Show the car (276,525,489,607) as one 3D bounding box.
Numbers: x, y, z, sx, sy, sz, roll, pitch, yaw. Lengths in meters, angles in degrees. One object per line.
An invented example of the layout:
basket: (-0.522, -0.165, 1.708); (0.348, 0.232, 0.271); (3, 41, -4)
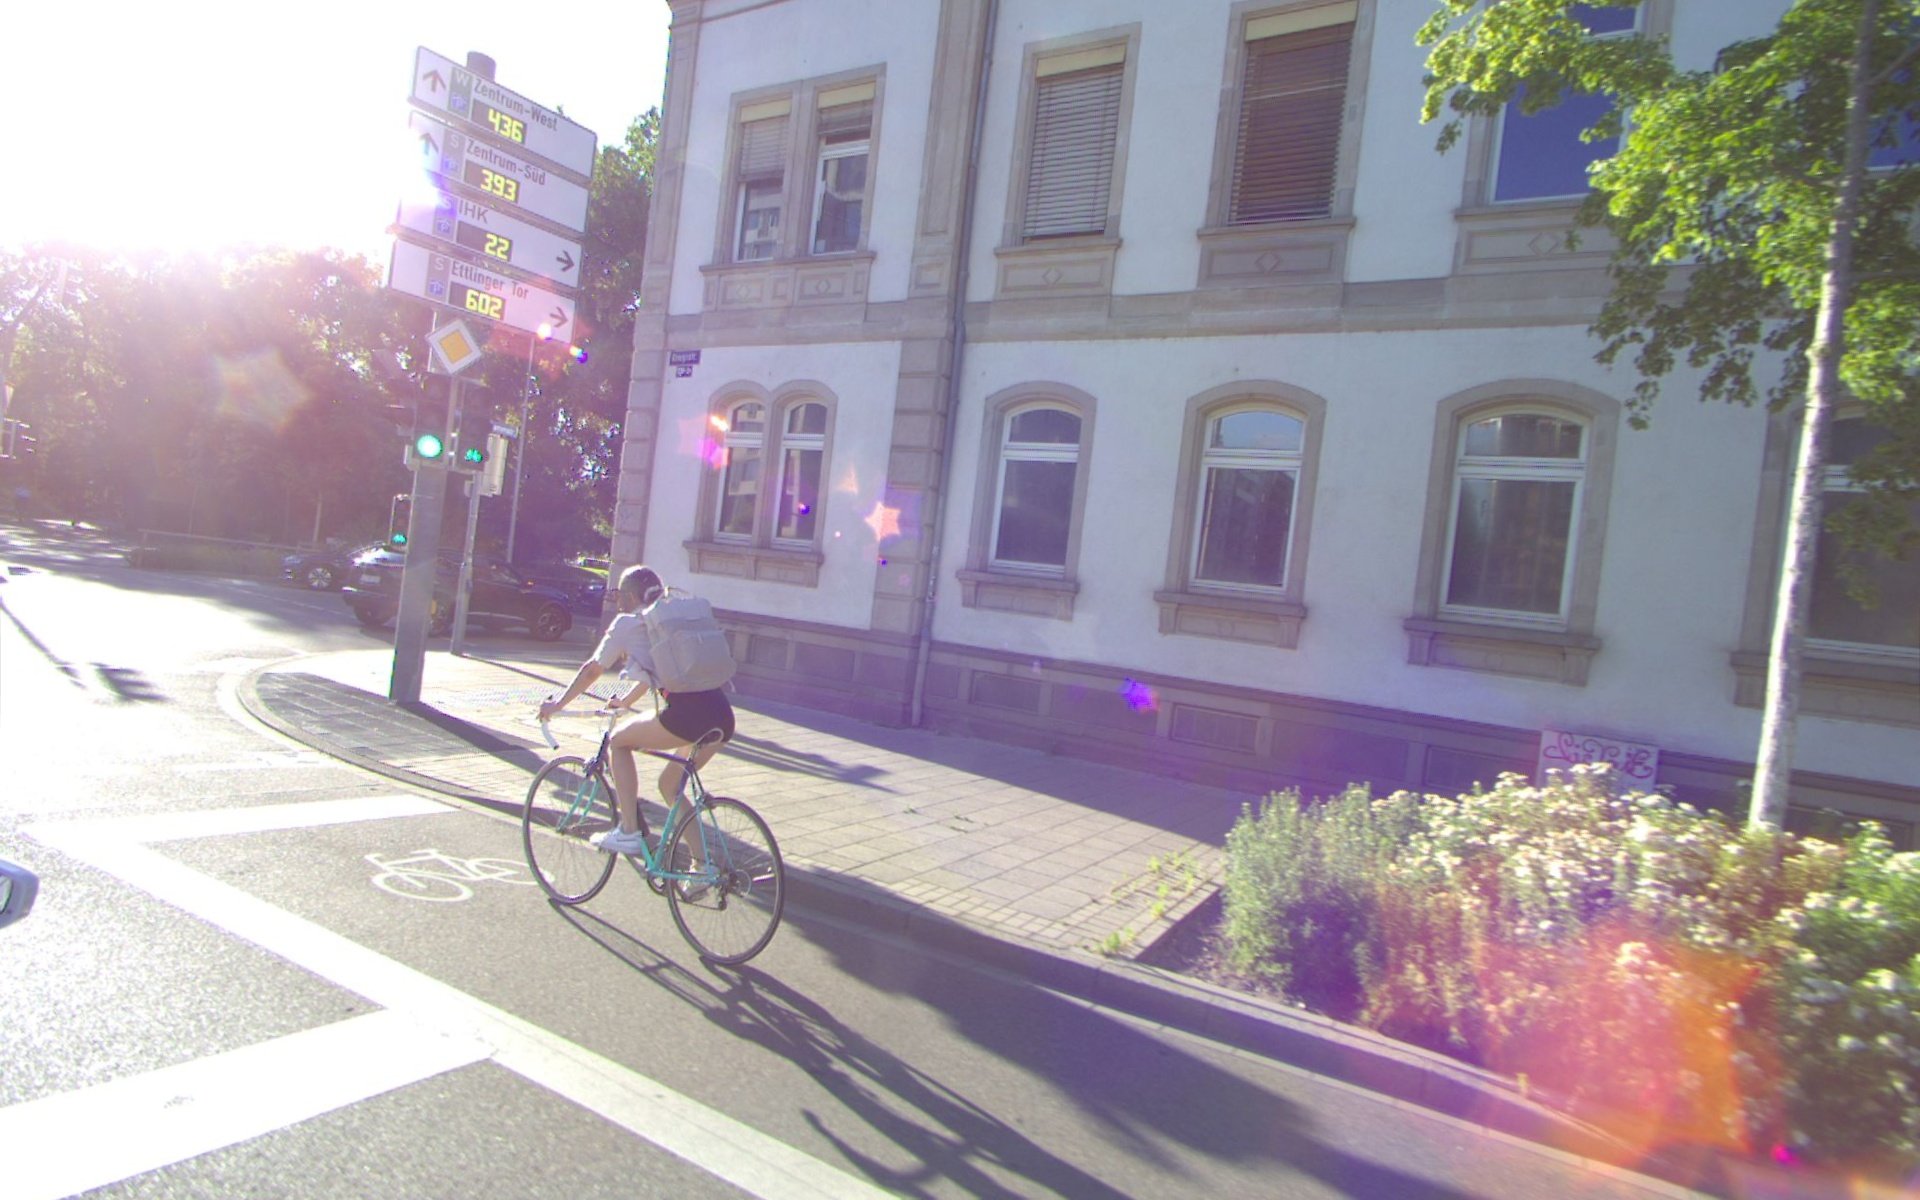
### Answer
car: (-14.947, -0.854, 26.138); (4.560, 1.491, 1.885); (8, -1, -35)

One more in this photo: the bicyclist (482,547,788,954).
bicyclist: (-1.436, 0.595, 4.424); (1.063, 1.509, 0.553); (8, 1, 30)

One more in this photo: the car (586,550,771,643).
car: (-7.479, -0.066, 26.833); (4.209, 1.827, 1.929); (8, 1, -35)

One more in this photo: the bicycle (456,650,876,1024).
bicycle: (-1.312, 0.899, 4.312); (1.811, 1.111, 0.521); (8, 1, 30)

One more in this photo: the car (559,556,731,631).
car: (-9.396, -0.186, 30.146); (4.490, 1.672, 1.888); (7, -1, -31)

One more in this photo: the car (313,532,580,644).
car: (-9.386, -0.138, 18.779); (1.869, 1.545, 4.059); (7, -1, 24)
